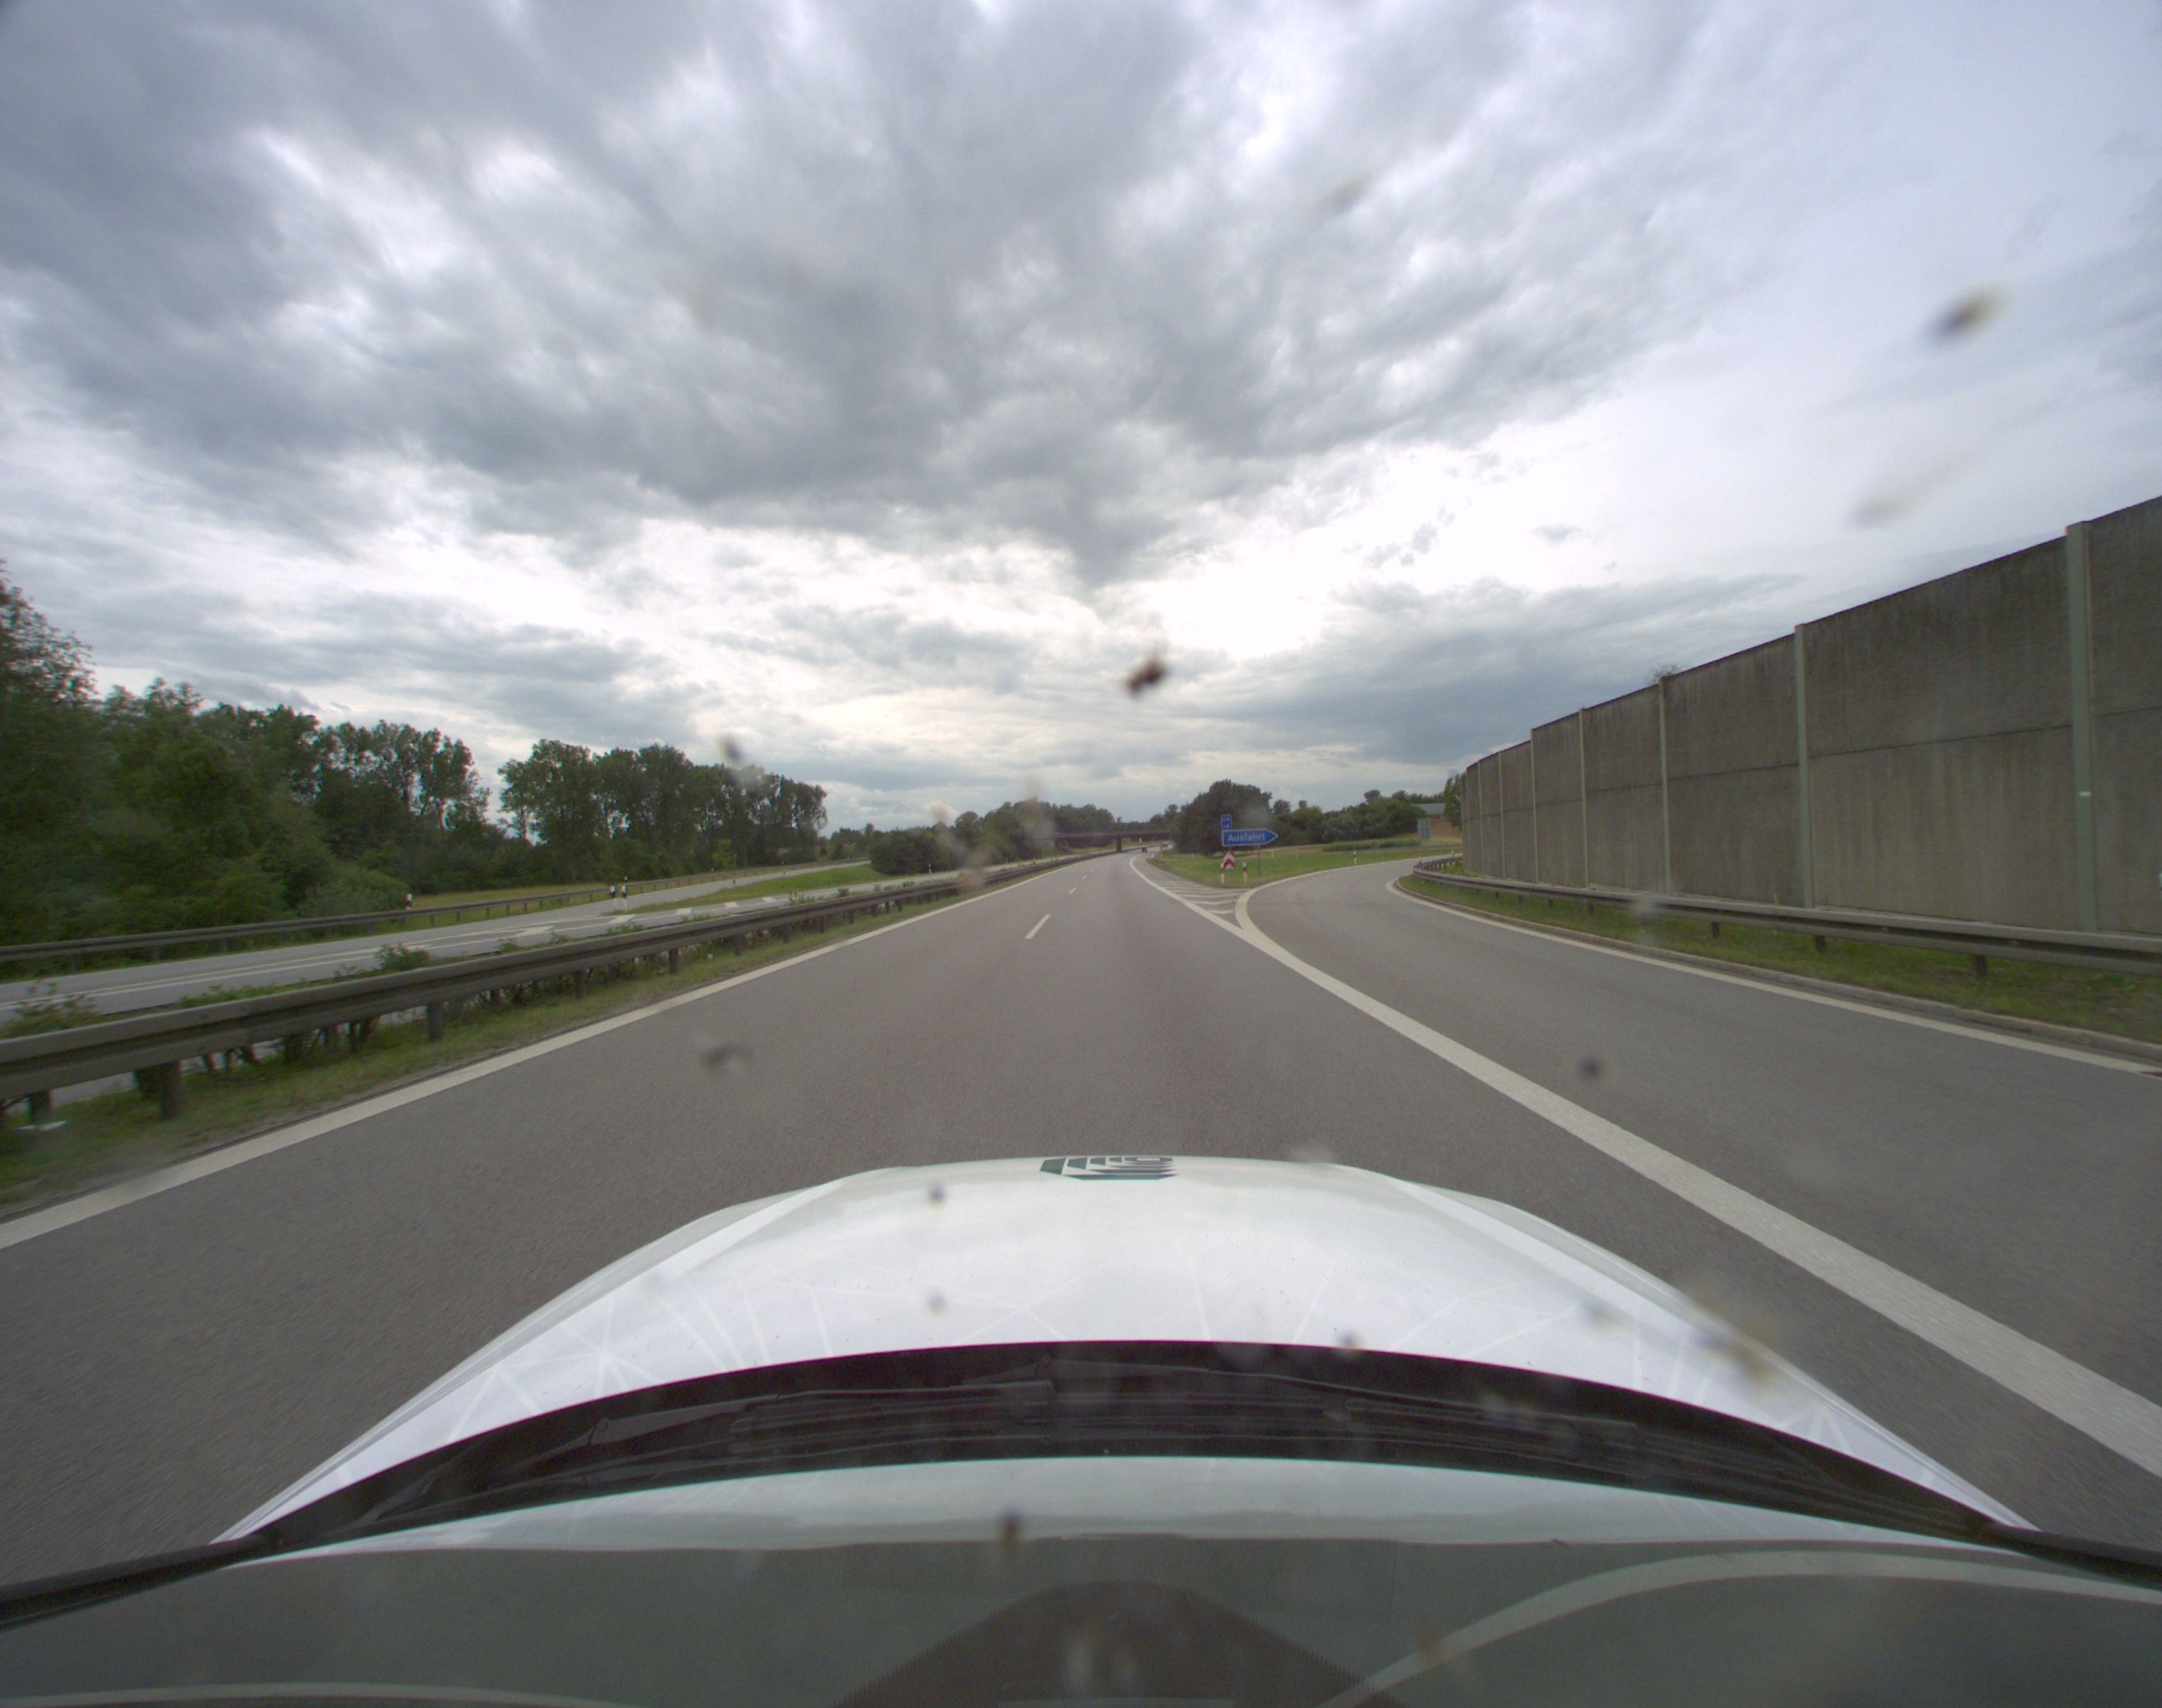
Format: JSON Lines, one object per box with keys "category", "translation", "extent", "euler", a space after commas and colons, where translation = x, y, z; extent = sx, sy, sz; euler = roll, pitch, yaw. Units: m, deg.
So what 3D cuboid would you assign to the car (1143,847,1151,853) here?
{"category": "car", "translation": [20.844, -1.191, 257.824], "extent": [1.834, 1.717, 4.012], "euler": [-2, 0, 11]}
